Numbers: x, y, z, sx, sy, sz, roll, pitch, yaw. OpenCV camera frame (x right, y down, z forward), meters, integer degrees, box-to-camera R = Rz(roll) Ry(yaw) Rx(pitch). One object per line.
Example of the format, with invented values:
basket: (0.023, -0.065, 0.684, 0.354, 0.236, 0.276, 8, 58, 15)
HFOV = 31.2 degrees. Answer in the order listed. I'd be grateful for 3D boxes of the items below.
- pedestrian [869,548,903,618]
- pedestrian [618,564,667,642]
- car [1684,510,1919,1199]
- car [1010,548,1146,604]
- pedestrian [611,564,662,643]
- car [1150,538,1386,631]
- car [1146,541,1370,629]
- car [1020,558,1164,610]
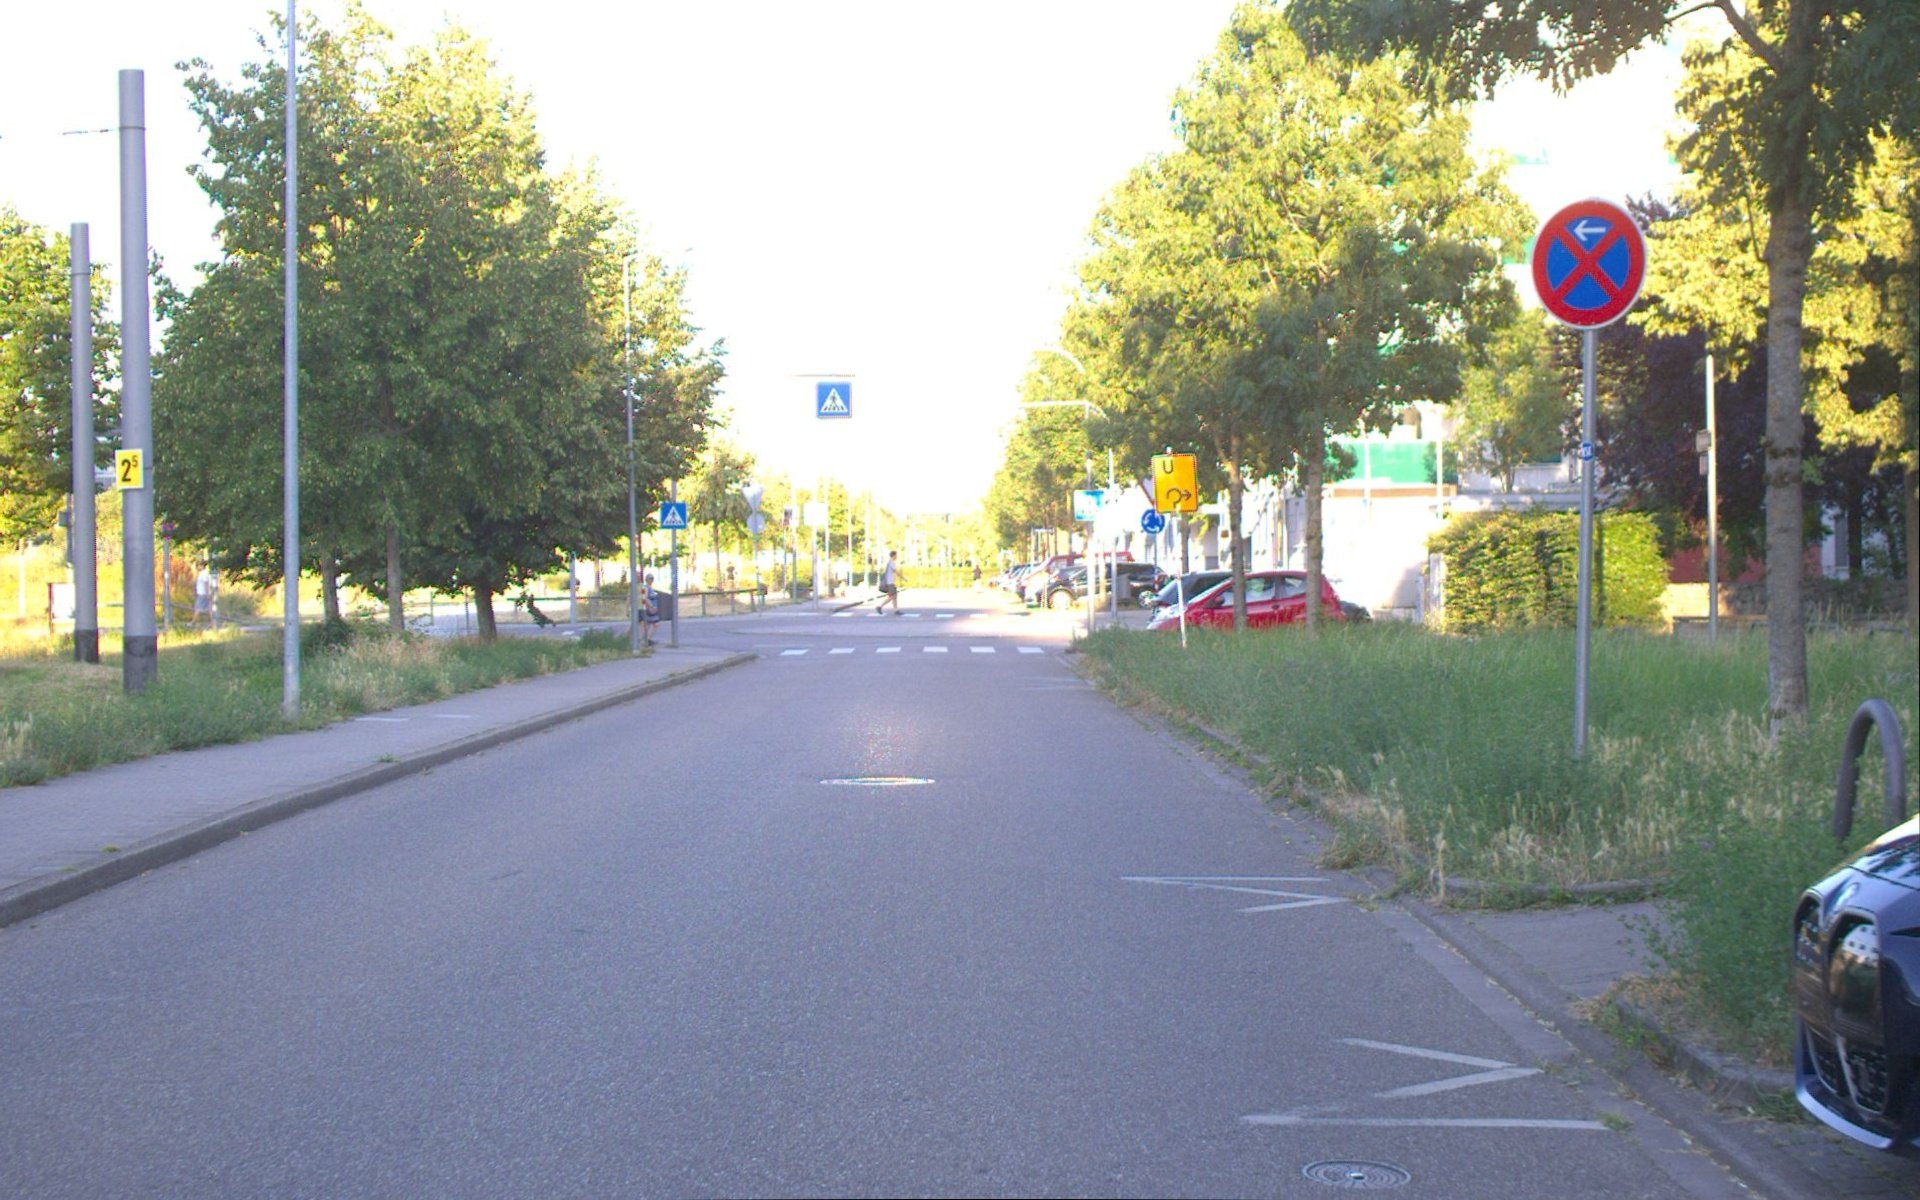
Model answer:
pedestrian: (-2.169, -0.502, 100.945, 0.846, 2.007, 0.943, -1, 0, 6)
pedestrian: (-6.982, 0.058, 75.566, 0.983, 1.687, 0.700, -1, 0, -11)
car: (4.098, 0.566, 7.462, 4.669, 1.551, 1.811, -1, 1, 1)
car: (4.516, -0.927, 132.164, 5.002, 2.038, 2.250, -1, 0, -4)
pedestrian: (-7.035, 0.073, 74.740, 1.018, 1.687, 0.760, -1, 0, -11)
car: (5.218, -0.263, 58.548, 3.802, 1.503, 1.679, -1, 0, -2)
car: (5.294, -0.272, 61.336, 3.802, 1.503, 1.679, -1, 0, -2)
car: (4.158, -0.512, 108.814, 4.484, 1.590, 2.000, -1, 0, 1)
